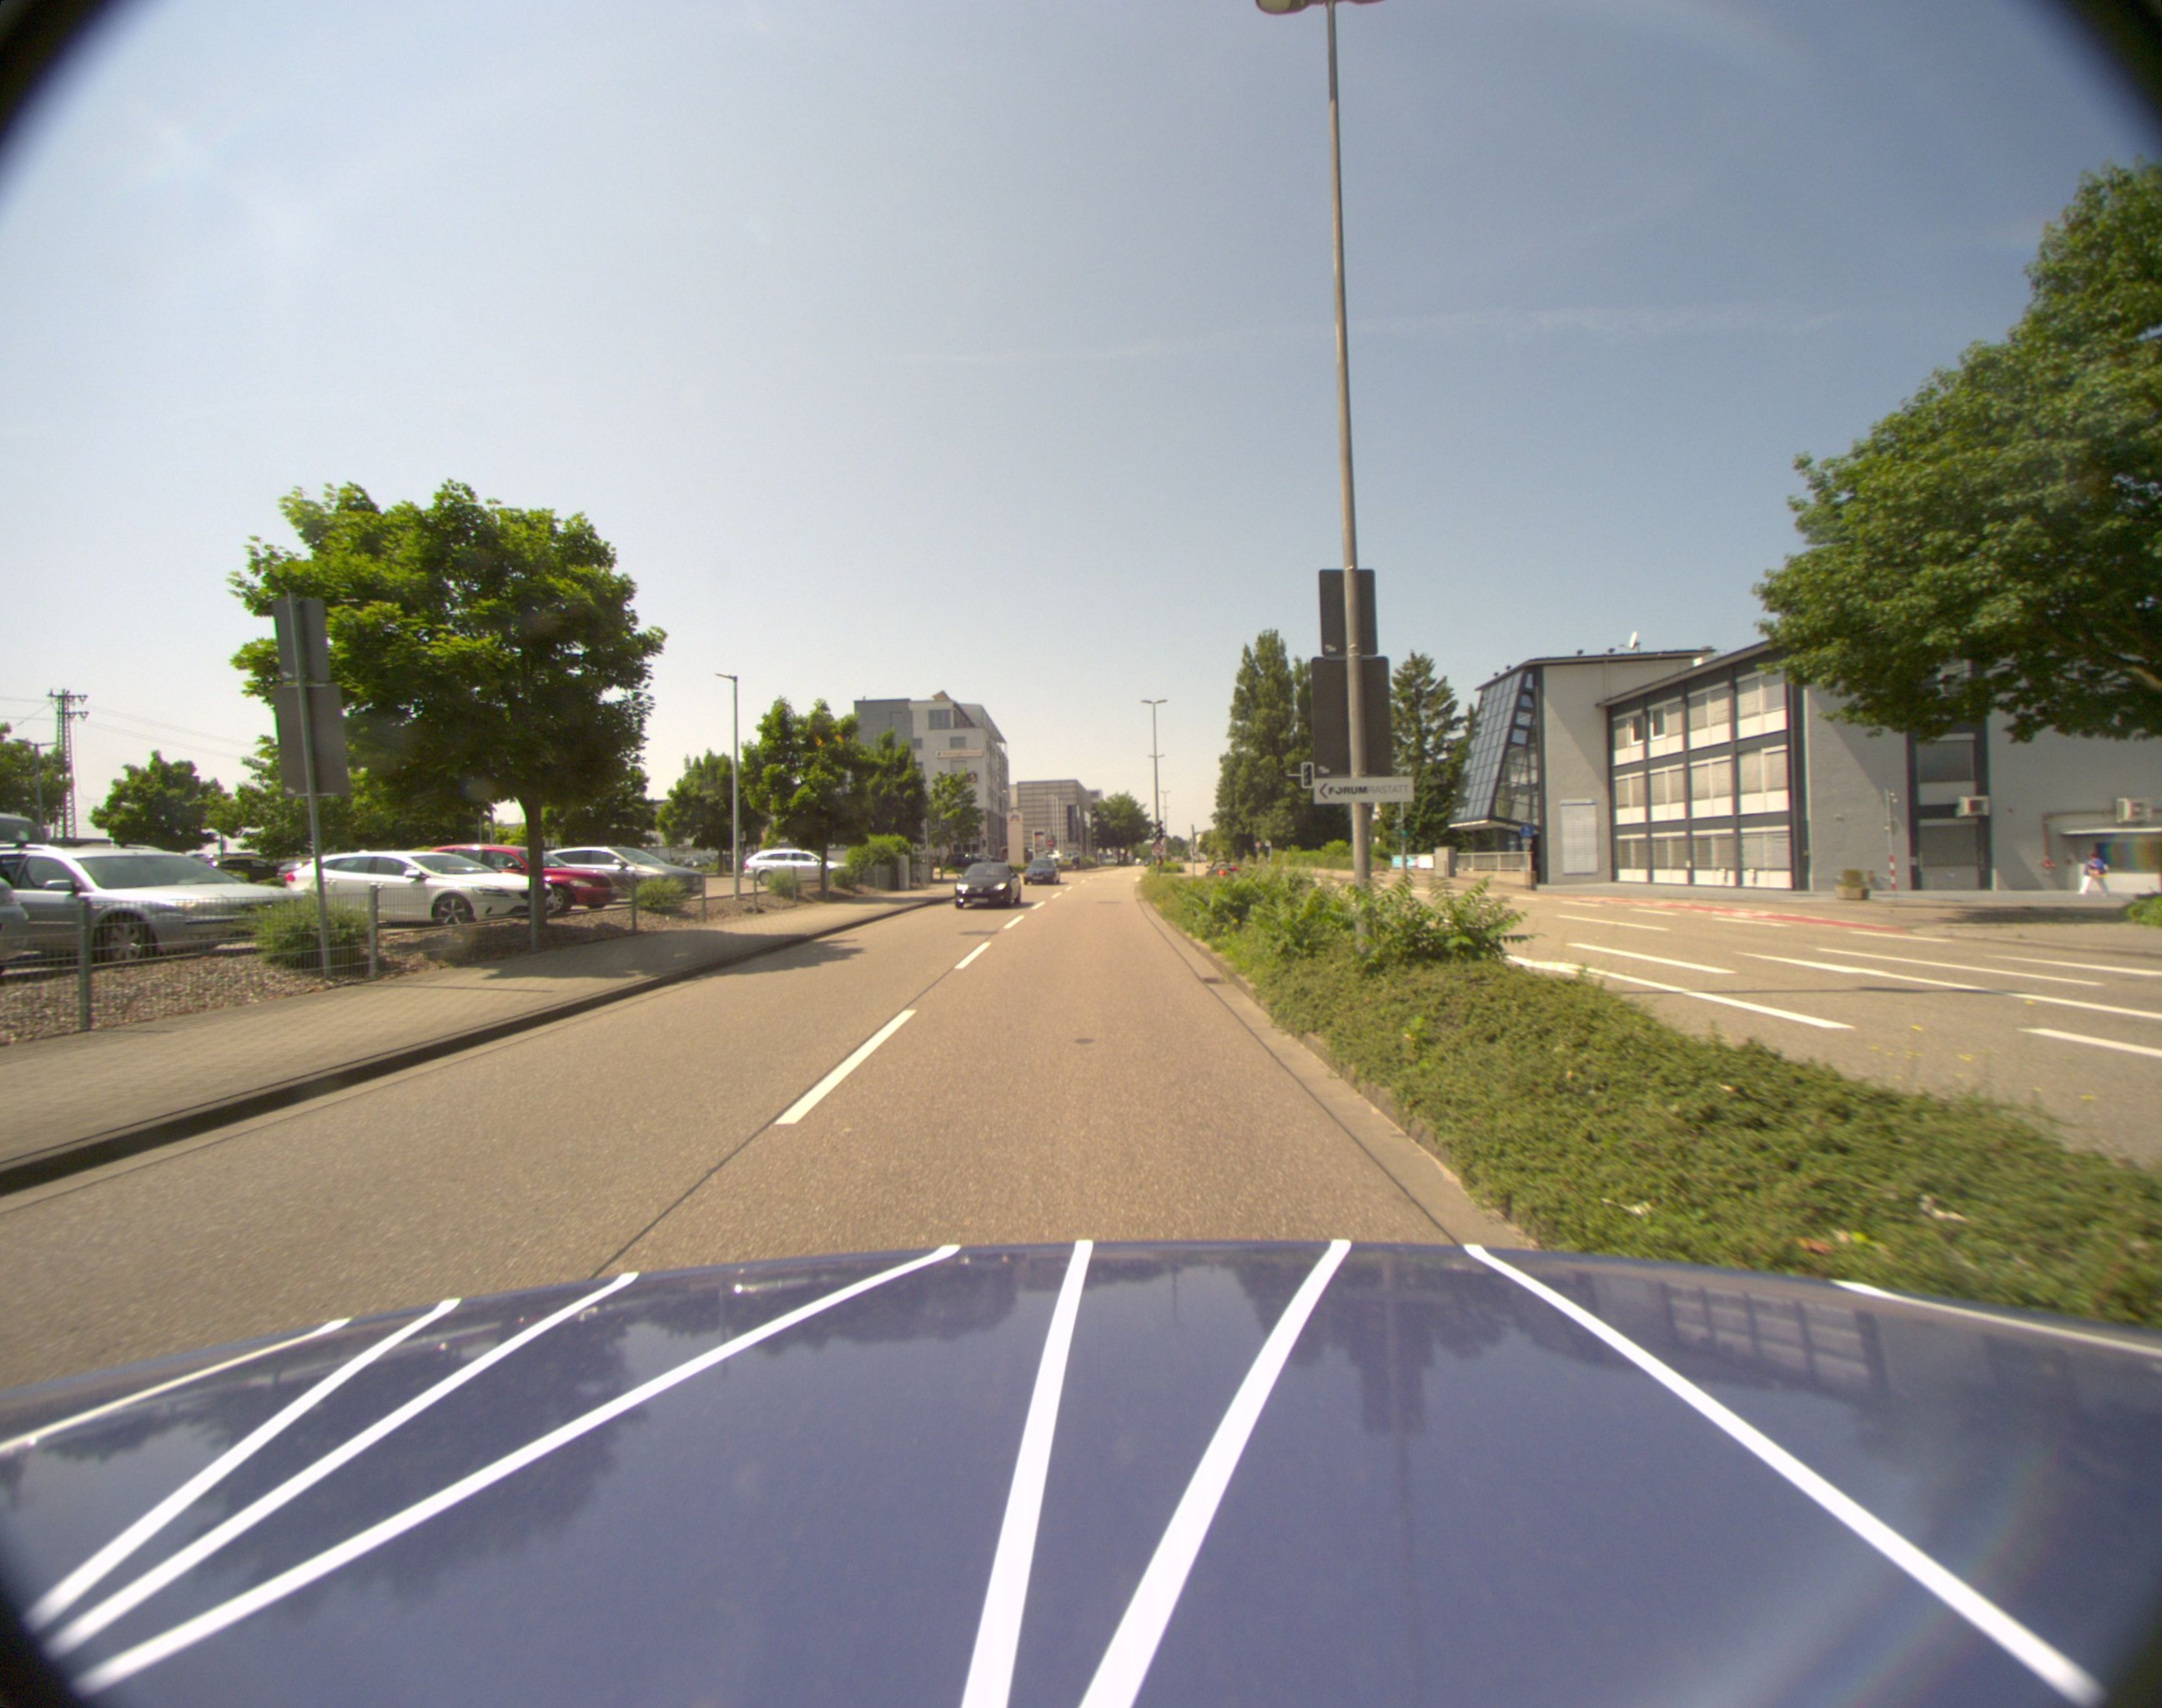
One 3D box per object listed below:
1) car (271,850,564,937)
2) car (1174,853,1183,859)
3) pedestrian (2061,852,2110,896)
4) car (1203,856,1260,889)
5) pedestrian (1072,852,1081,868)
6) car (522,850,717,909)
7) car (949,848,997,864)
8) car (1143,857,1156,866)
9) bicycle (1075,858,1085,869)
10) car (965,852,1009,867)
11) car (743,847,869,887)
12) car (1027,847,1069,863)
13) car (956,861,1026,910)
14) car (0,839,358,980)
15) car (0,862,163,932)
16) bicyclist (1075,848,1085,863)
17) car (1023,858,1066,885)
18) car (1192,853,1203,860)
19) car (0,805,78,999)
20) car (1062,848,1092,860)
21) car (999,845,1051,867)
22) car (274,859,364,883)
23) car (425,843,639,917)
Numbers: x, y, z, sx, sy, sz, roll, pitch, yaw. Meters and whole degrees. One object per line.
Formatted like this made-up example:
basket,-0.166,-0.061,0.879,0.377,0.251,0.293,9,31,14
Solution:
car,-12.287,0.699,14.252,4.006,1.413,1.698,-2,0,2
car,22.271,0.434,174.256,1.763,1.410,4.092,-1,1,3
pedestrian,37.693,0.724,28.519,0.684,1.615,0.859,0,1,-6
car,6.559,0.766,33.517,1.733,1.316,4.149,-1,0,1
pedestrian,-0.486,0.671,80.719,0.830,1.616,1.005,-3,2,1
car,-12.223,0.653,20.277,4.179,1.413,1.698,-2,0,4
car,-9.647,0.154,68.354,3.997,1.331,1.863,-1,1,1
car,10.879,1.190,120.799,1.866,1.390,4.002,0,0,8
bicycle,-0.081,0.952,77.034,0.759,1.126,1.908,-3,0,7
car,-8.982,0.537,72.800,3.881,1.331,1.756,-1,1,1
car,-11.431,0.516,31.761,4.587,1.496,1.698,-2,0,1
car,-3.703,0.116,86.454,4.474,1.600,2.097,-3,1,3
car,-2.744,0.929,23.780,1.641,1.348,3.500,0,0,2
car,-12.380,0.683,9.807,4.377,1.583,1.827,-2,0,2
car,-23.199,0.904,16.465,1.733,1.412,4.000,0,0,0
bicyclist,-0.114,0.183,77.106,0.776,1.455,1.091,-3,1,7
car,-1.949,0.902,41.257,1.710,1.316,3.957,1,1,6
car,25.430,0.526,165.842,1.898,1.551,4.288,0,0,3
car,-12.962,0.537,7.174,4.627,1.913,1.827,-2,0,2
car,-0.563,0.047,108.042,4.135,1.477,1.759,-3,1,6
car,-5.529,0.226,75.308,4.704,1.787,2.184,-4,0,6
car,-46.499,0.990,46.479,1.789,1.382,3.611,0,0,1
car,-12.508,0.566,17.484,3.598,1.528,1.723,-2,0,-1
